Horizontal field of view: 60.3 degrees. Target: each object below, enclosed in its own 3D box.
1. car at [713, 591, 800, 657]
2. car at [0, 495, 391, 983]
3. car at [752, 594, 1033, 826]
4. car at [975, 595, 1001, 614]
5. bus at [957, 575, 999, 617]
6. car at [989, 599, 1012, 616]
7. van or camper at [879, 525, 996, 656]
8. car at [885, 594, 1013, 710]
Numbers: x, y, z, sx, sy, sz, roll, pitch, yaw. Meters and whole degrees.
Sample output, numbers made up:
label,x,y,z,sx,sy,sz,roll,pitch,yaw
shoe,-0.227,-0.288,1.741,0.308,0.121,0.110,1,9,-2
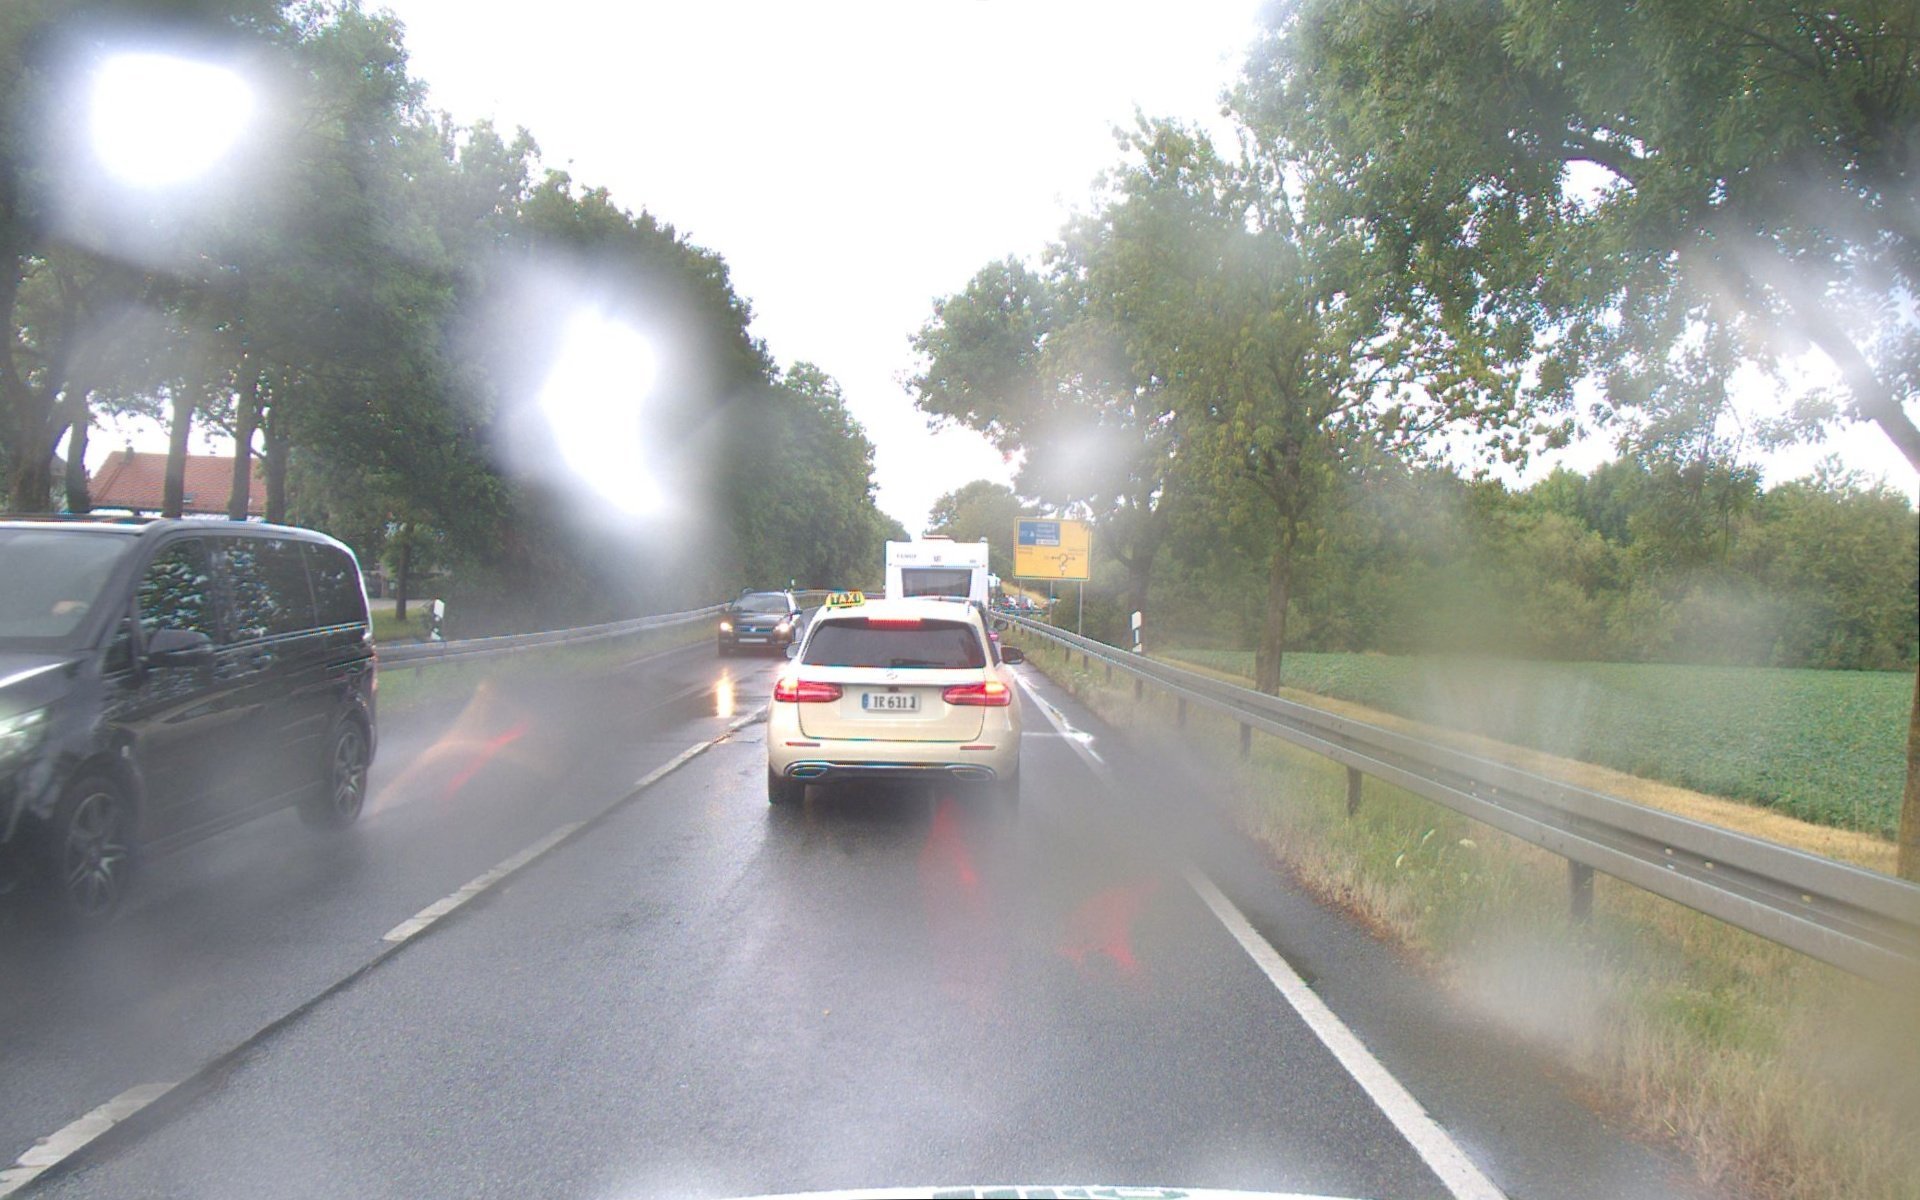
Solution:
label,x,y,z,sx,sy,sz,roll,pitch,yaw
car,-4.748,0.526,39.090,1.595,1.463,3.959,1,0,-1
car,-4.524,0.509,8.395,1.791,1.834,4.414,0,0,-1
car,-0.420,0.711,12.790,1.826,1.502,4.000,0,0,1
car,1.767,0.294,104.942,1.520,1.138,3.999,1,0,-1
bus,0.849,-0.203,81.065,1.953,2.049,3.999,0,0,-1
car,2.787,0.499,114.391,1.520,1.138,4.000,1,0,0
van or camper,-0.448,-0.207,37.909,2.438,2.732,5.700,1,0,1
car,-0.118,0.654,23.005,1.630,1.456,4.000,0,0,1
